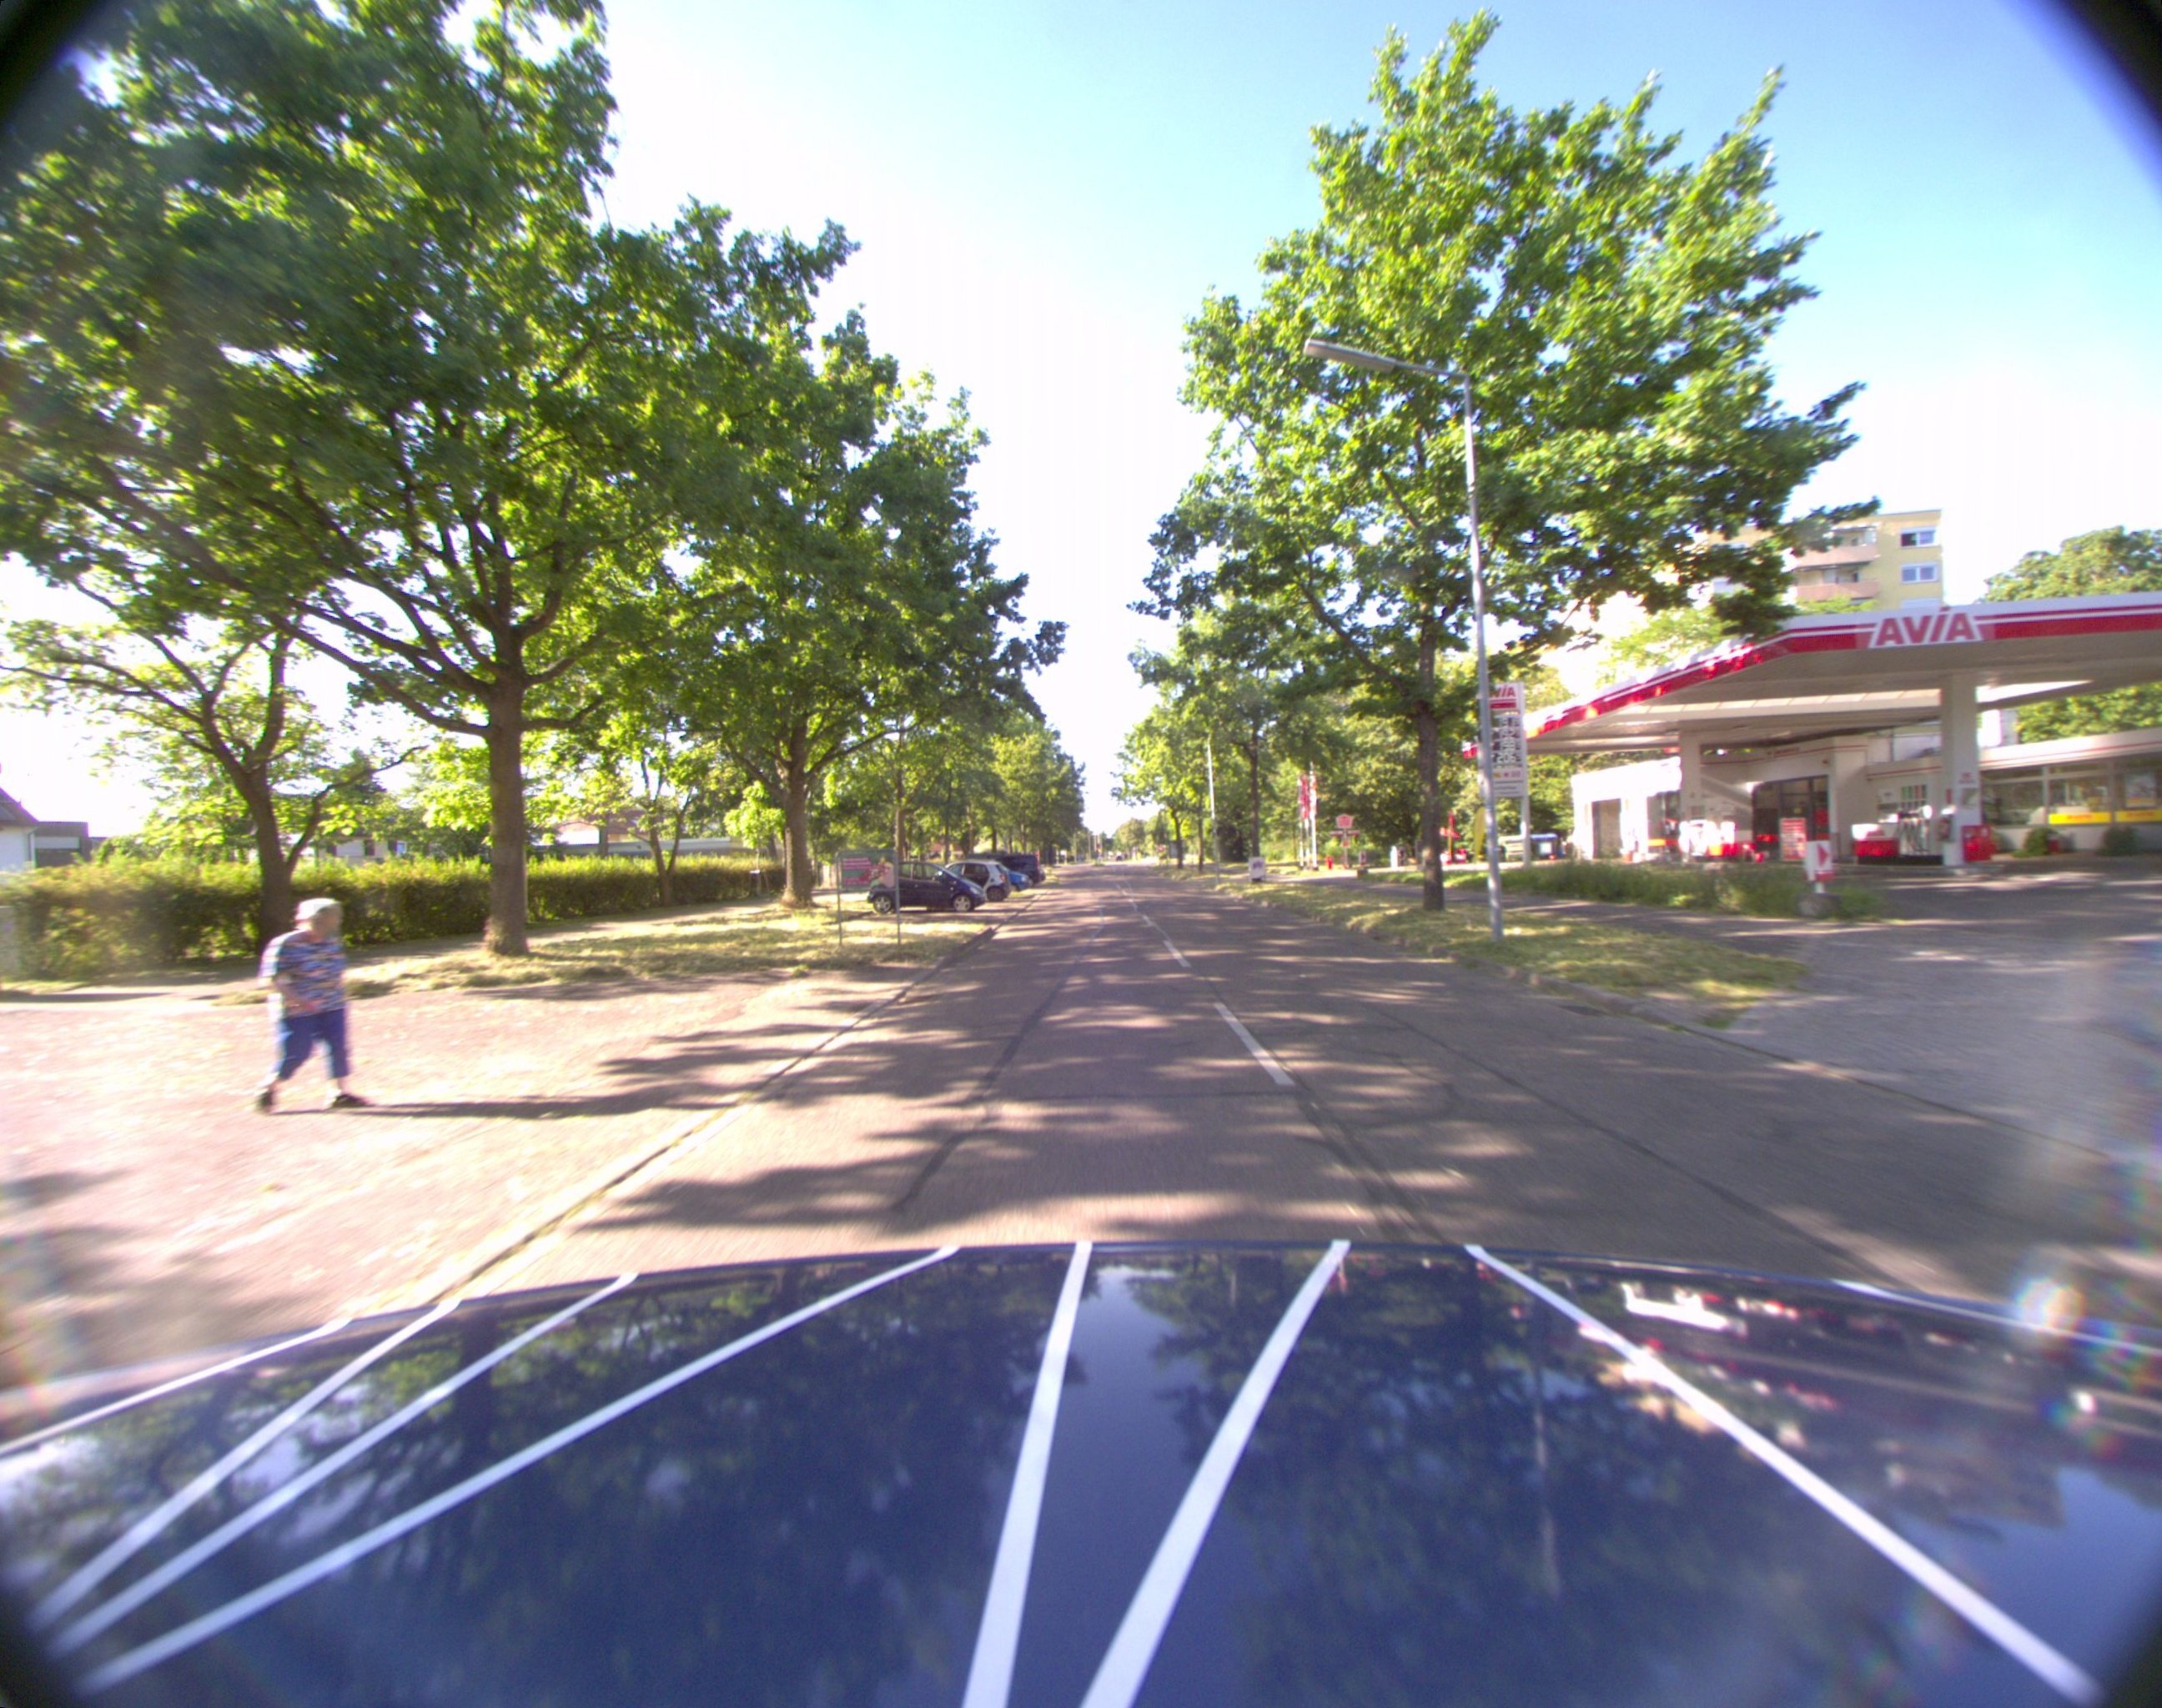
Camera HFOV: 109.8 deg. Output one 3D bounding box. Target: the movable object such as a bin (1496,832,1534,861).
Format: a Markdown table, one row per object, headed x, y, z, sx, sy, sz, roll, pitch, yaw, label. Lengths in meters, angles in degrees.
| x | y | z | sx | sy | sz | roll | pitch | yaw | label |
| --- | --- | --- | --- | --- | --- | --- | --- | --- | --- |
| 23.907 | -0.385 | 41.891 | 1.307 | 1.533 | 1.268 | -2 | 0 | 2 | movable object such as a bin |

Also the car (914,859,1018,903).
| x | y | z | sx | sy | sz | roll | pitch | yaw | label |
| --- | --- | --- | --- | --- | --- | --- | --- | --- | --- |
| -4.279 | 0.995 | 28.705 | 3.592 | 1.567 | 1.786 | -1 | 0 | 2 | car |

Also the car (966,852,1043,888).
| x | y | z | sx | sy | sz | roll | pitch | yaw | label |
| --- | --- | --- | --- | --- | --- | --- | --- | --- | --- |
| -4.077 | 0.848 | 41.119 | 4.019 | 1.826 | 1.799 | -1 | 1 | -2 | car |

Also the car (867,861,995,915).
| x | y | z | sx | sy | sz | roll | pitch | yaw | label |
| --- | --- | --- | --- | --- | --- | --- | --- | --- | --- |
| -4.620 | 1.037 | 23.776 | 3.592 | 1.567 | 1.857 | -1 | 0 | 0 | car |

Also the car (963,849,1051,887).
| x | y | z | sx | sy | sz | roll | pitch | yaw | label |
| --- | --- | --- | --- | --- | --- | --- | --- | --- | --- |
| -4.172 | 0.759 | 43.526 | 4.815 | 2.020 | 1.944 | -1 | 0 | 0 | car |

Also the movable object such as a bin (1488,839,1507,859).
| x | y | z | sx | sy | sz | roll | pitch | yaw | label |
| --- | --- | --- | --- | --- | --- | --- | --- | --- | --- |
| 22.911 | -0.289 | 41.813 | 0.570 | 1.079 | 0.768 | -2 | 0 | 2 | movable object such as a bin |

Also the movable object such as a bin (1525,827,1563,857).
| x | y | z | sx | sy | sz | roll | pitch | yaw | label |
| --- | --- | --- | --- | --- | --- | --- | --- | --- | --- |
| 25.427 | -0.654 | 41.750 | 1.307 | 1.533 | 1.164 | -4 | 0 | 2 | movable object such as a bin |

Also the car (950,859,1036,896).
| x | y | z | sx | sy | sz | roll | pitch | yaw | label |
| --- | --- | --- | --- | --- | --- | --- | --- | --- | --- |
| -3.817 | 1.015 | 33.373 | 3.529 | 1.523 | 1.665 | -1 | 1 | 2 | car |

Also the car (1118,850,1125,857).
| x | y | z | sx | sy | sz | roll | pitch | yaw | label |
| --- | --- | --- | --- | --- | --- | --- | --- | --- | --- |
| 11.883 | -0.095 | 222.490 | 1.904 | 2.082 | 3.641 | 0 | 0 | 1 | car |

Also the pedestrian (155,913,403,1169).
| x | y | z | sx | sy | sz | roll | pitch | yaw | label |
| --- | --- | --- | --- | --- | --- | --- | --- | --- | --- |
| -5.481 | 1.187 | 5.227 | 0.941 | 1.491 | 0.886 | -1 | 0 | 24 | pedestrian |
